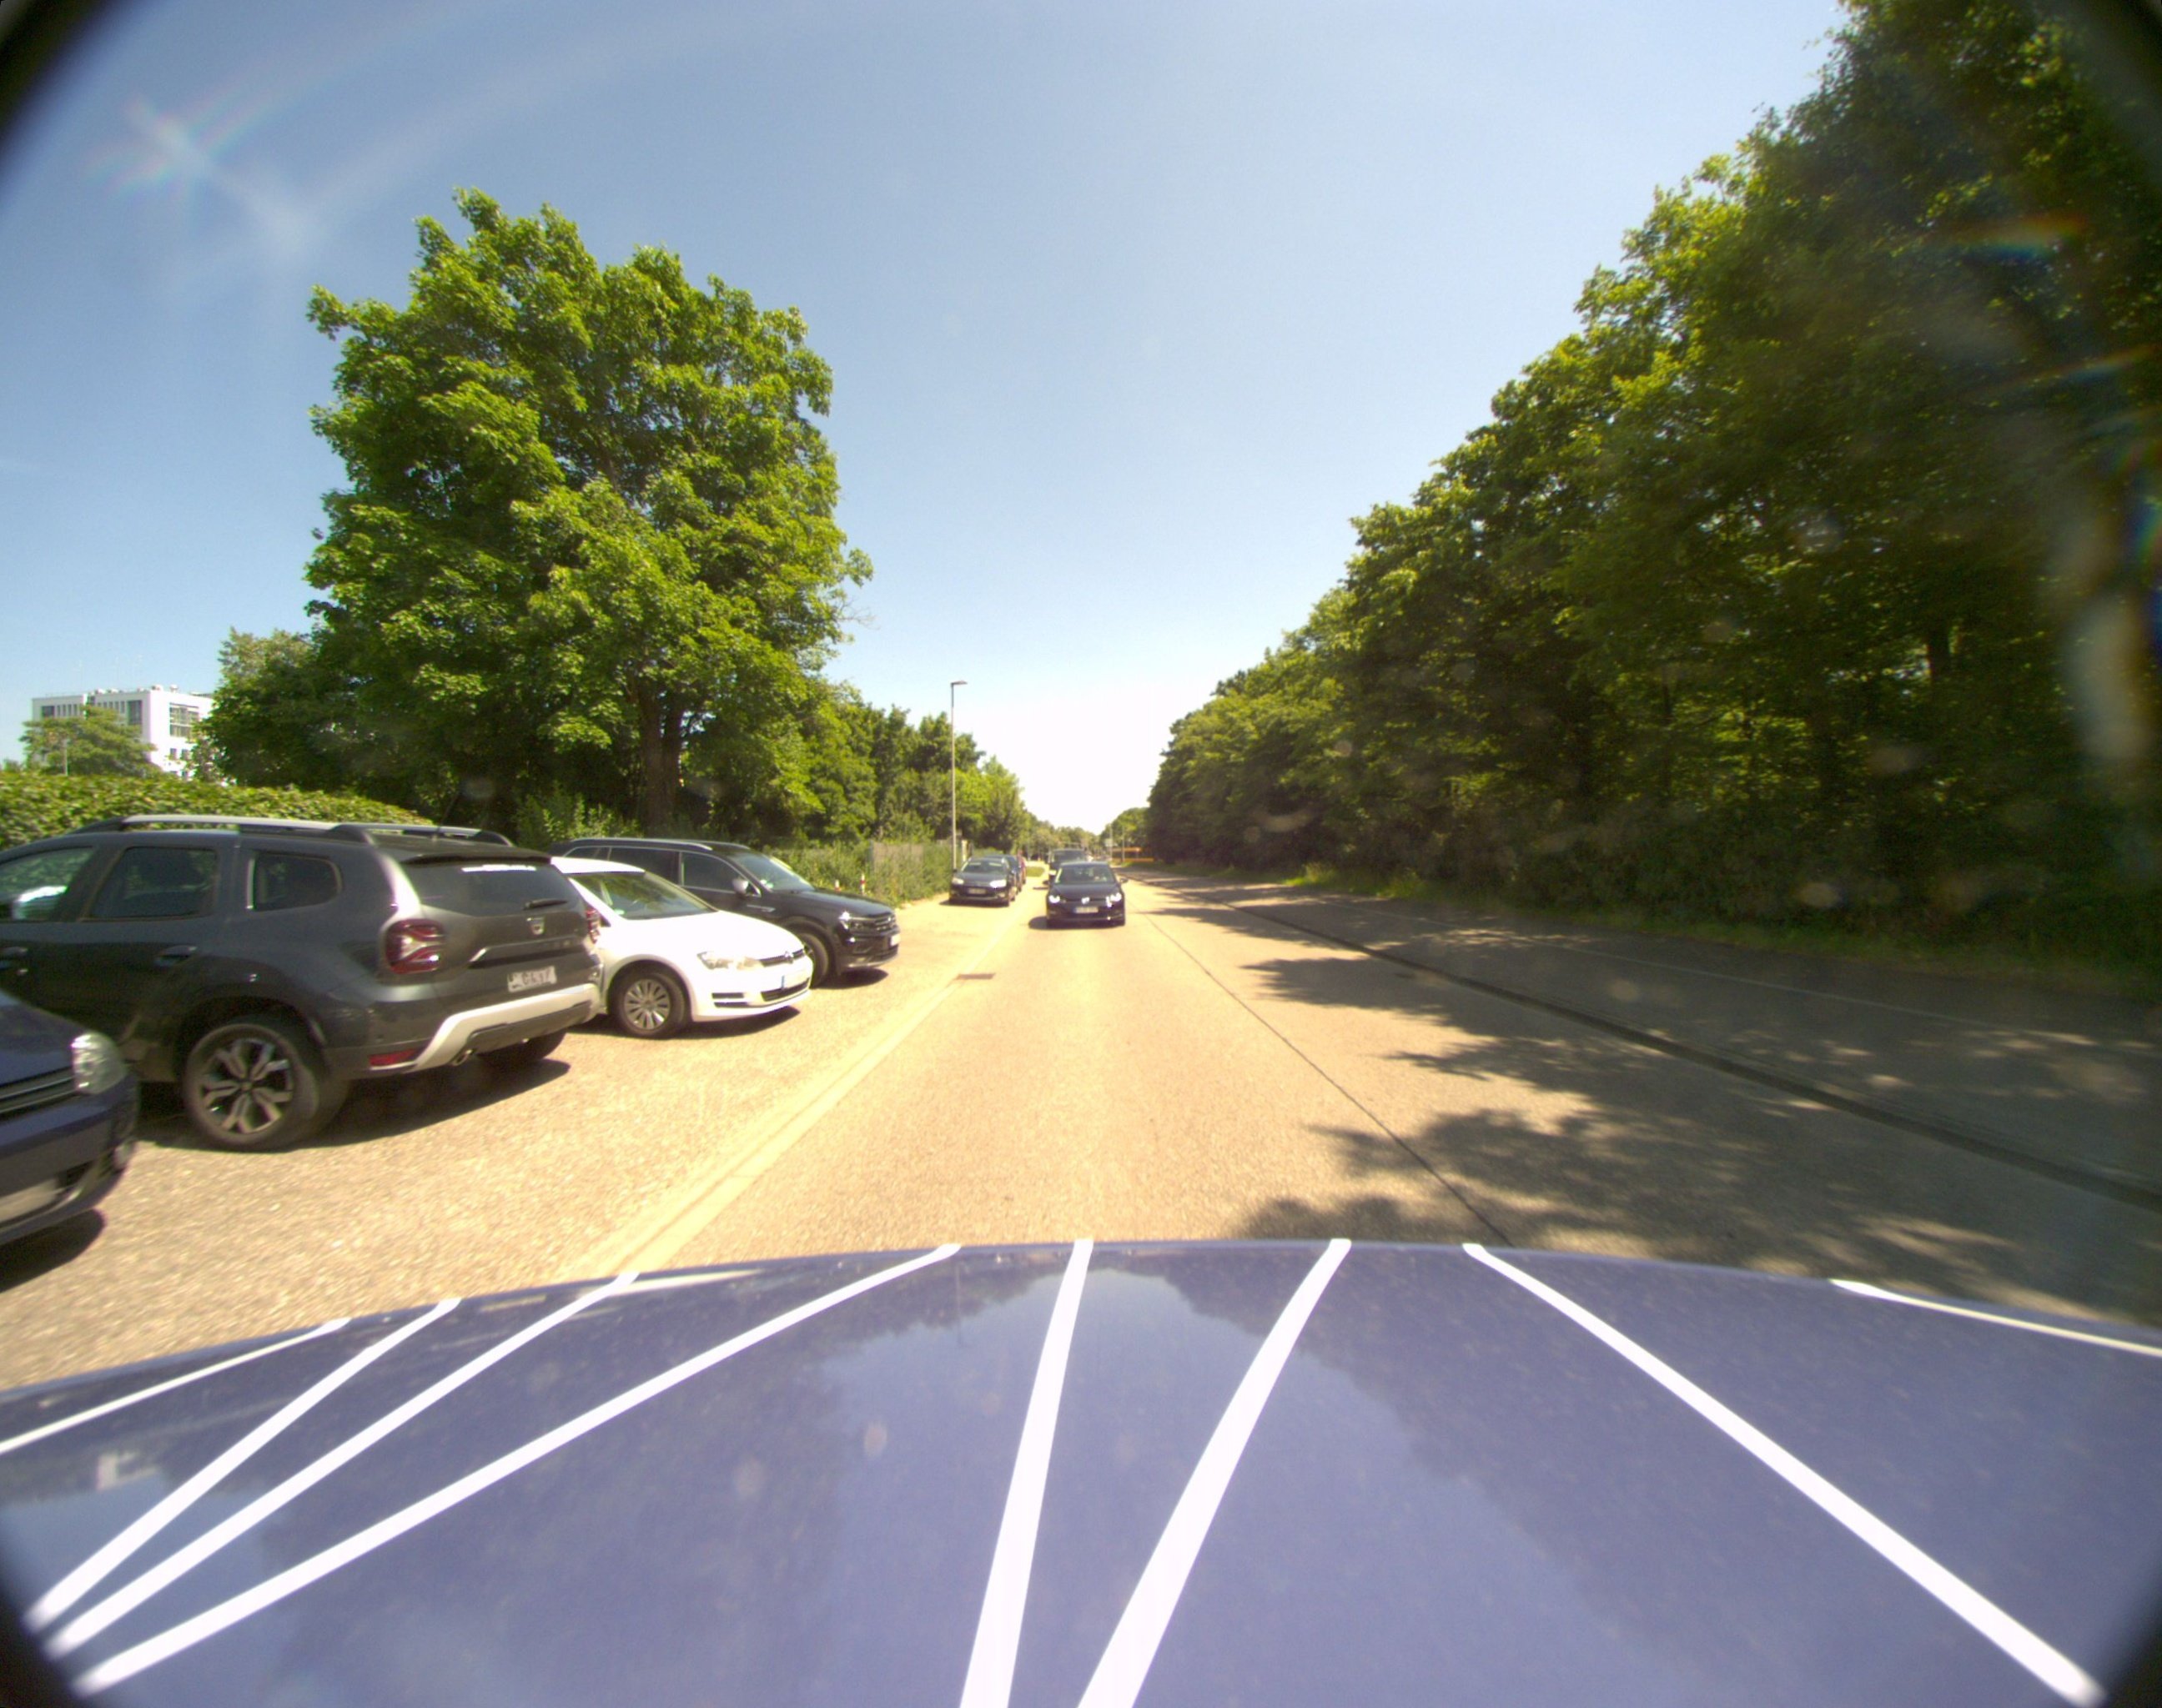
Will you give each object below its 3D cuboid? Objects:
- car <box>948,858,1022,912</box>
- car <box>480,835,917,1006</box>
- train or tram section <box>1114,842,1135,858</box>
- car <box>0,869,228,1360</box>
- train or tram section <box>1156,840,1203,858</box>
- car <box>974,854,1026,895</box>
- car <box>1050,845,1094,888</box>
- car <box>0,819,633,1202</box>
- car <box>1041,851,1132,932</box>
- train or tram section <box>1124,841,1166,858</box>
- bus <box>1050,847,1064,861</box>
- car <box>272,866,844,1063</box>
[{"bbox_3d":[-2.979,0.905,24.509,1.794,1.473,4.664,3,0,-1],"label":"car"},{"bbox_3d":[-4.585,0.760,9.629,4.481,1.694,1.914,3,0,1],"label":"car"},{"bbox_3d":[9.848,-0.795,173.278,2.579,3.445,10.844,-1,0,-10],"label":"train or tram section"},{"bbox_3d":[-5.489,0.770,2.149,4.059,1.539,1.758,3,0,-1],"label":"car"},{"bbox_3d":[20.438,-0.989,157.473,9.327,3.446,2.788,-1,0,30],"label":"train or tram section"},{"bbox_3d":[-3.308,0.834,31.793,1.794,1.594,4.129,0,0,-1],"label":"car"},{"bbox_3d":[-0.491,0.583,37.428,2.002,1.965,4.449,-1,0,-2],"label":"car"},{"bbox_3d":[-5.429,0.705,4.614,4.267,1.688,1.854,3,0,2],"label":"car"},{"bbox_3d":[0.108,0.804,18.480,1.887,1.667,4.662,-2,0,0],"label":"car"},{"bbox_3d":[13.765,-0.863,163.700,2.656,3.446,10.827,-2,0,-35],"label":"train or tram section"},{"bbox_3d":[-5.676,-0.002,179.939,2.931,3.248,8.329,-1,0,0],"label":"bus"},{"bbox_3d":[-4.509,0.896,7.027,4.006,1.444,1.832,2,0,1],"label":"car"}]
